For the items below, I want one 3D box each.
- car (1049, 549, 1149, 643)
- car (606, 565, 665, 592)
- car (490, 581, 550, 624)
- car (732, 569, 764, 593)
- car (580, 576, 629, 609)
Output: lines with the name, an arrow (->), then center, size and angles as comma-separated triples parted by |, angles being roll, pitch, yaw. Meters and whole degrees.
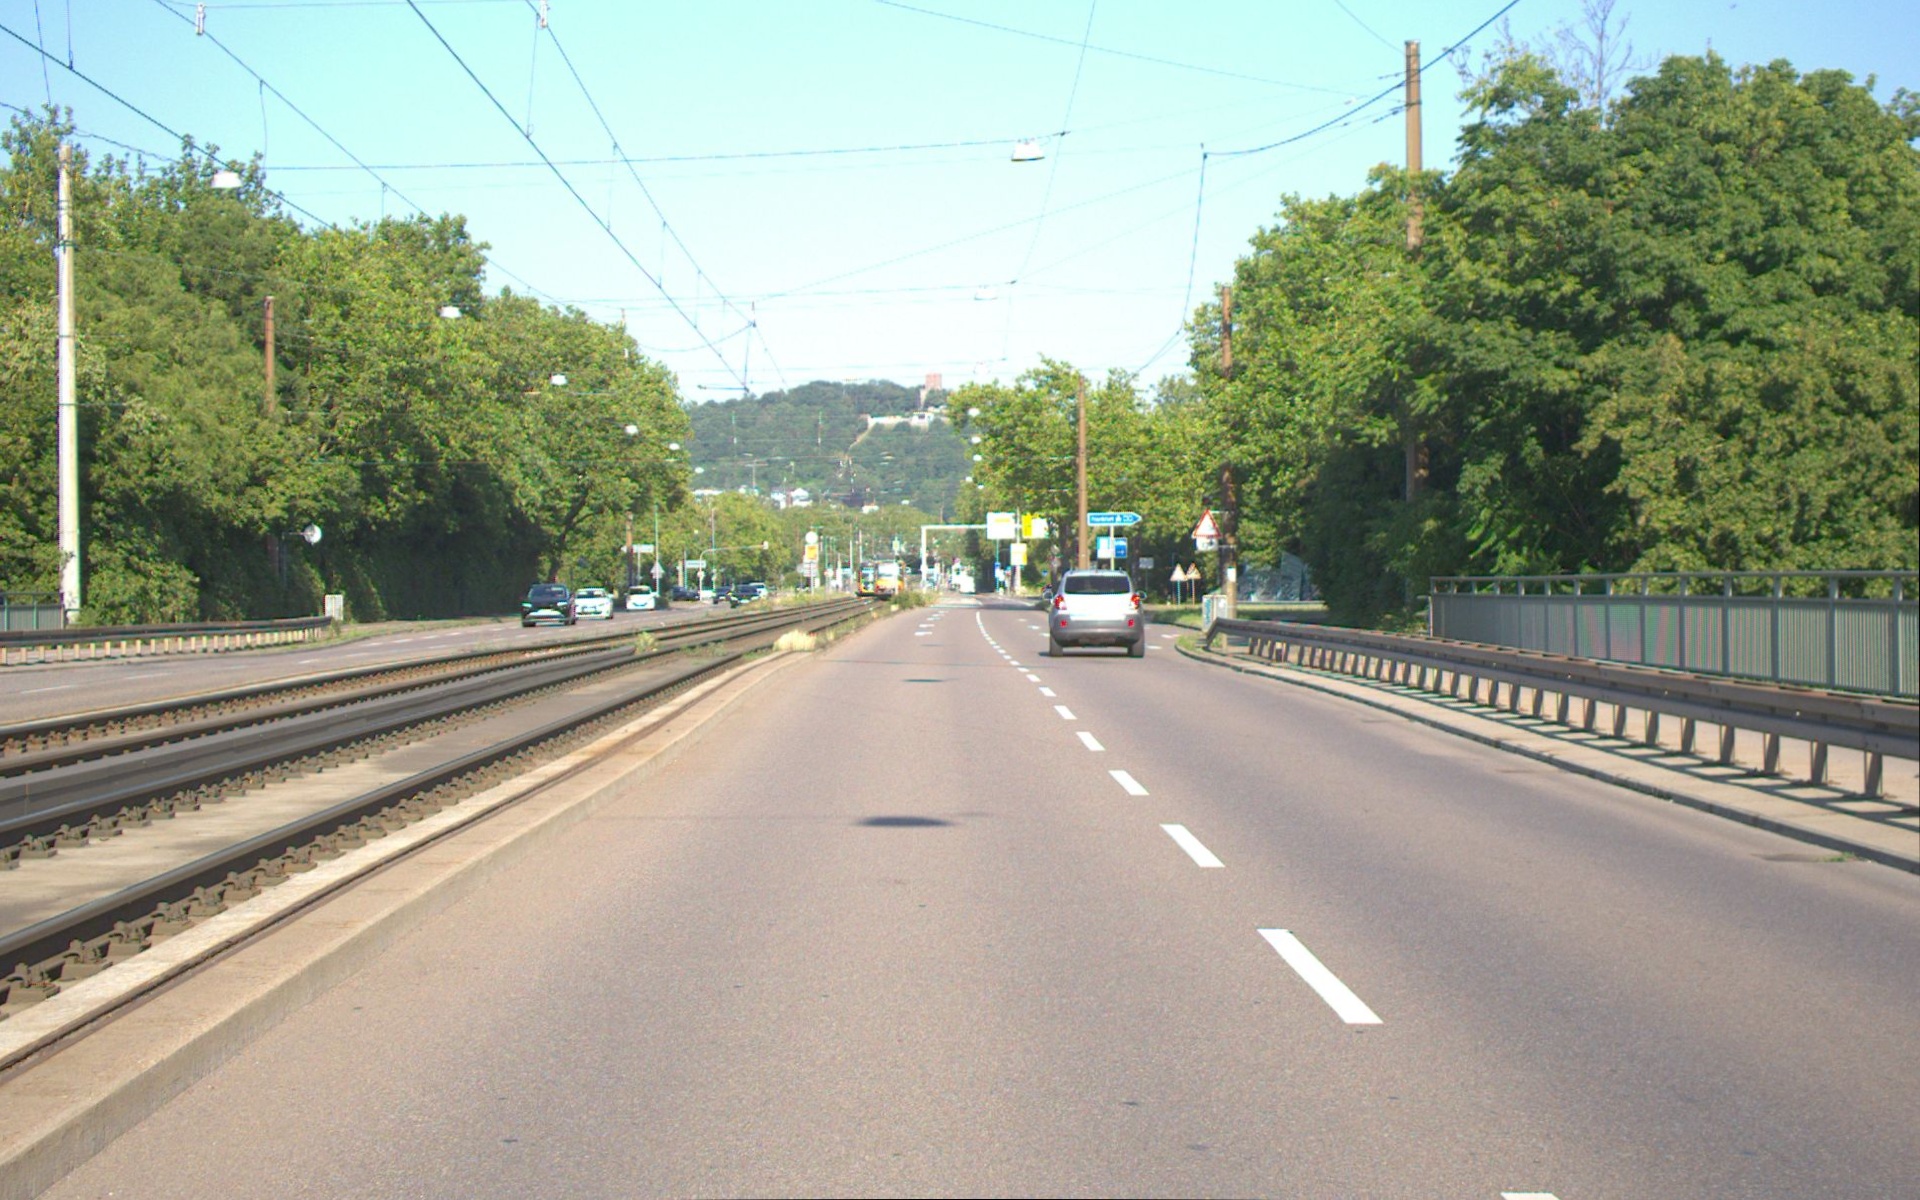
car -> 2.765, -0.093, 67.830 | 1.809, 1.767, 3.862 | 1, 1, 4
car -> -20.390, -1.351, 215.764 | 1.692, 1.550, 4.189 | -3, 1, -37
car -> -16.839, 0.073, 131.697 | 1.709, 1.575, 4.801 | -1, 1, -1
car -> -13.468, -1.191, 218.466 | 1.657, 1.428, 4.501 | -2, 1, 1
car -> -16.110, -0.348, 156.001 | 1.754, 1.409, 4.878 | -3, 0, -1
